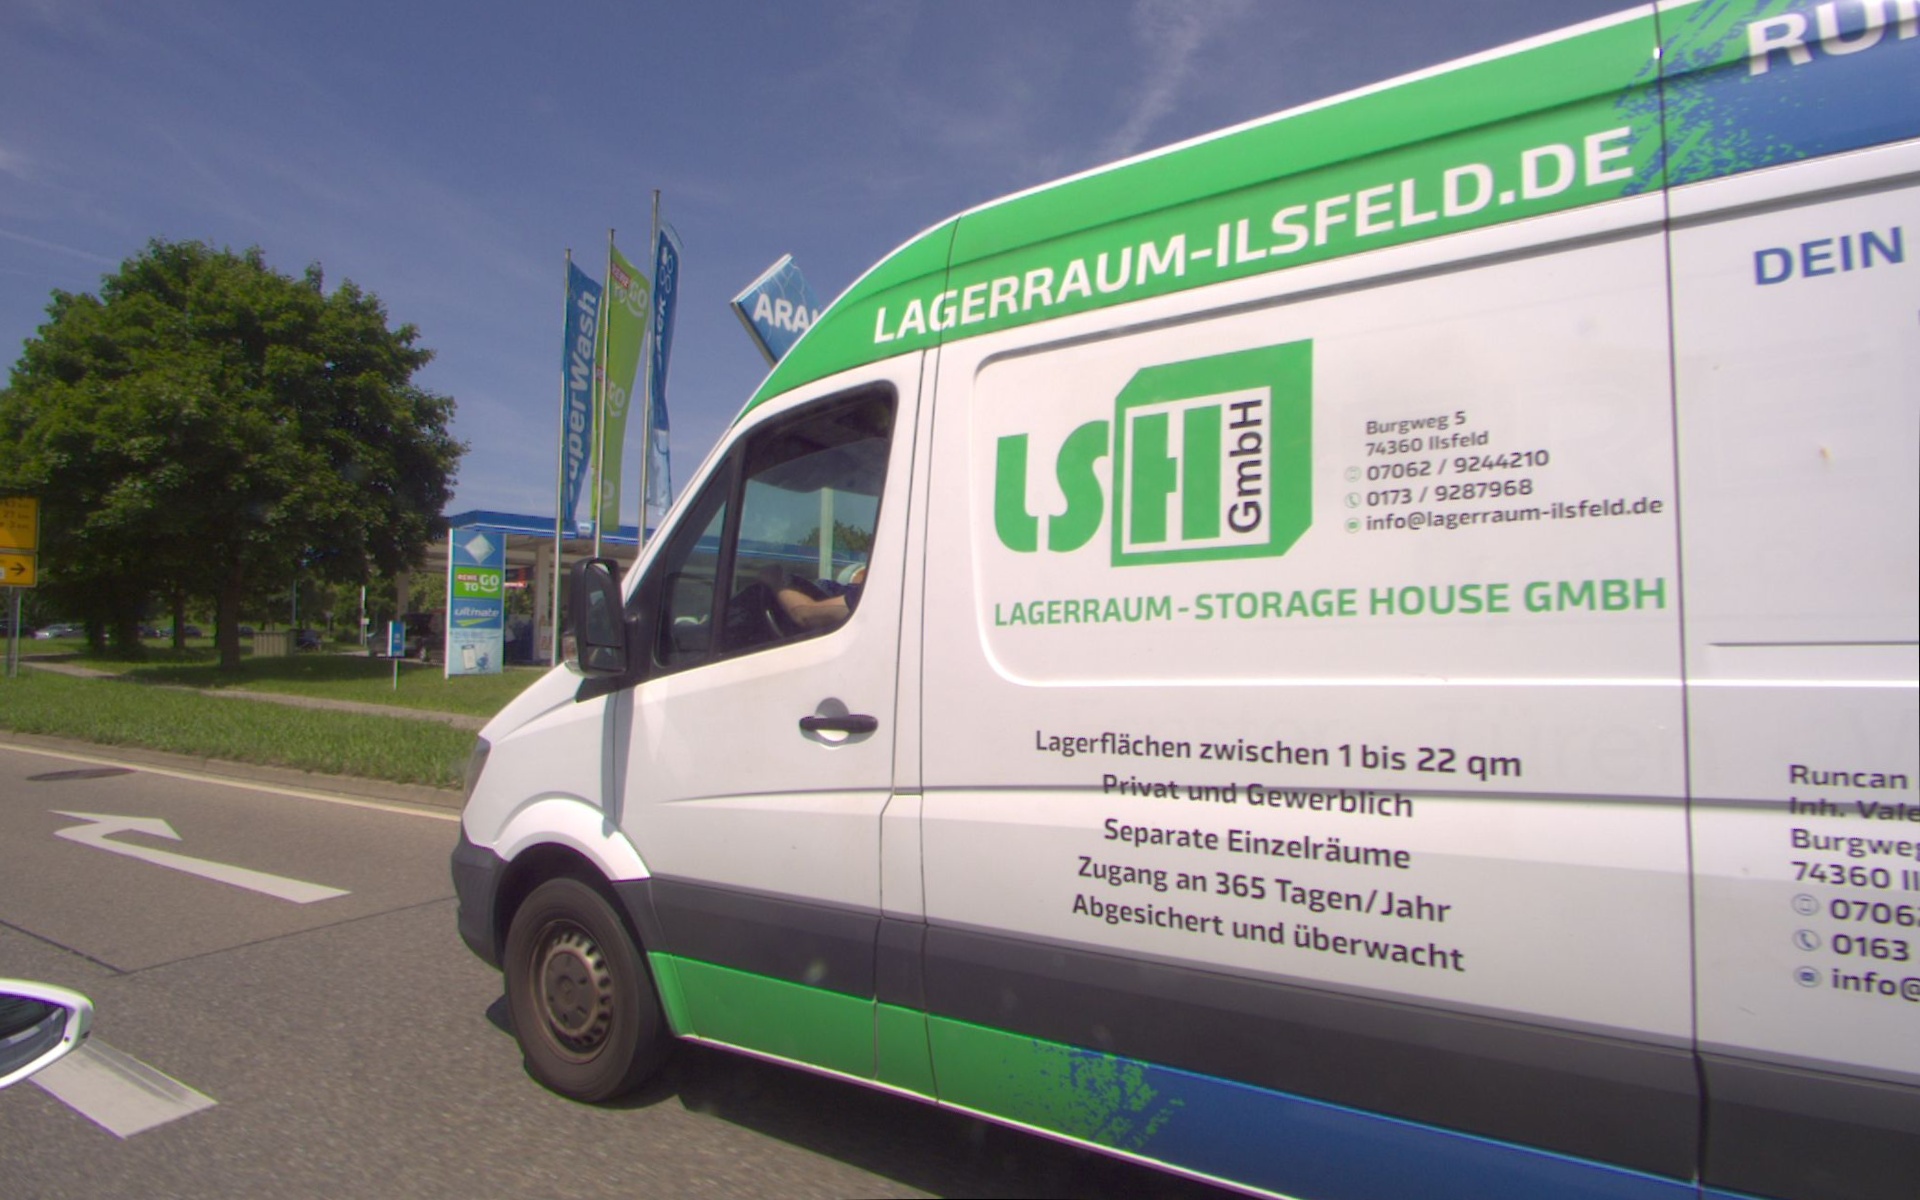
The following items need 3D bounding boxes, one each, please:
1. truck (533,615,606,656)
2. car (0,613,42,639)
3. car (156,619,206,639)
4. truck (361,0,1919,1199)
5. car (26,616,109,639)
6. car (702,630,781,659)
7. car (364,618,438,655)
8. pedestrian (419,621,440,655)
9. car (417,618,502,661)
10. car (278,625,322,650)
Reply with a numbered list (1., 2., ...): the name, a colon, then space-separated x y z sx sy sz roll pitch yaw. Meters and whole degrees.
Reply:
1. truck: -20.620 1.868 52.809 1.980 2.039 4.767 1 -2 -43
2. car: -60.704 1.626 63.092 1.766 1.528 4.565 0 -3 -5
3. car: -64.225 2.411 82.620 1.769 1.529 4.227 0 -2 -16
4. truck: 0.891 0.147 2.899 5.858 2.772 2.063 -1 -2 32
5. car: -61.752 1.948 69.398 1.766 1.529 4.564 0 -2 -2
6. car: -10.792 2.160 49.332 3.956 1.380 1.890 -2 -2 42
7. car: -25.949 1.689 46.387 2.018 1.623 4.896 1 -2 -42
8. pedestrian: -23.616 1.684 44.600 0.661 1.516 0.715 1 -2 -42
9. car: -20.153 1.551 40.230 1.979 1.642 4.589 1 -2 -42
10. car: -37.828 2.150 57.499 1.734 1.380 4.302 1 -2 -28
